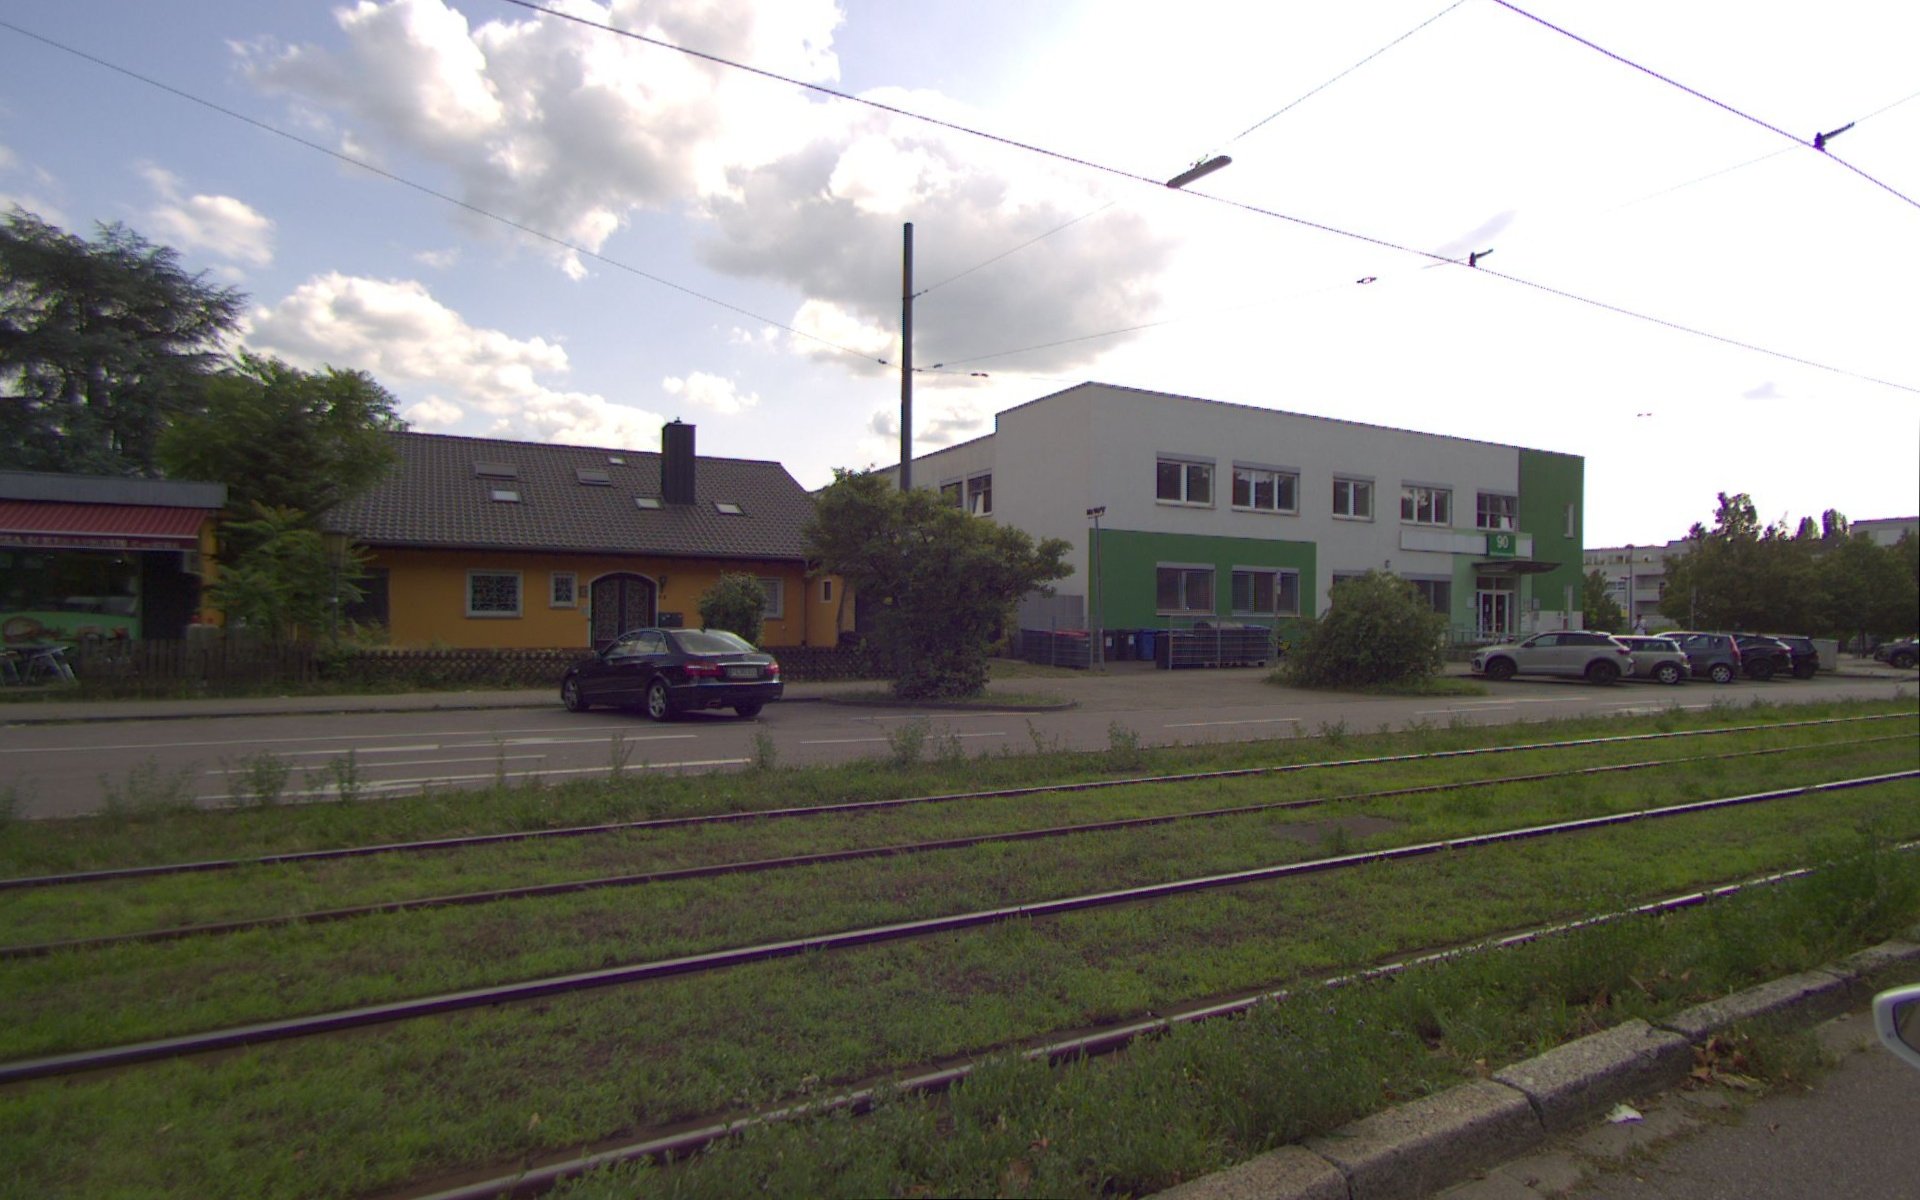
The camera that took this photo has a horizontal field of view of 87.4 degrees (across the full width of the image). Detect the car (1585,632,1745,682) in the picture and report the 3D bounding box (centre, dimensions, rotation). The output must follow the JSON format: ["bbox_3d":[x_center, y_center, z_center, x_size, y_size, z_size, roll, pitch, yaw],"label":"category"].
[{"bbox_3d":[22.875,1.822,32.784,4.163,1.501,1.878,-1,-2,33],"label":"car"}]

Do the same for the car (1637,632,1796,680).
[{"bbox_3d":[25.578,1.856,34.173,4.163,1.501,1.878,-1,-2,33],"label":"car"}]

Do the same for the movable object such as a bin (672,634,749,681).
[{"bbox_3d":[-6.176,1.394,24.841,1.598,1.107,1.249,1,-1,-29],"label":"movable object such as a bin"}]

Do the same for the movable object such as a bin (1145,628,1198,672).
[{"bbox_3d":[6.429,1.517,30.574,1.239,1.251,1.002,0,1,-26],"label":"movable object such as a bin"}]

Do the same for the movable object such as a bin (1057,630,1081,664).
[{"bbox_3d":[3.526,1.521,32.600,0.557,1.056,0.566,0,1,-27],"label":"movable object such as a bin"}]

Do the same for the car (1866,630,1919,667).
[{"bbox_3d":[40.899,2.073,42.115,4.168,1.502,1.876,1,0,38],"label":"car"}]

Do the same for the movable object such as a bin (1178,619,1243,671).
[{"bbox_3d":[7.786,1.373,31.253,1.689,1.540,1.002,0,1,-26],"label":"movable object such as a bin"}]

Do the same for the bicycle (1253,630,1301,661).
[{"bbox_3d":[11.405,1.636,36.192,0.453,0.999,1.851,2,0,-27],"label":"bicycle"}]

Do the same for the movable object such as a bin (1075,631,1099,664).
[{"bbox_3d":[4.156,1.554,32.964,0.557,1.056,0.566,0,1,-27],"label":"movable object such as a bin"}]

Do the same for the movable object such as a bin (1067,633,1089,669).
[{"bbox_3d":[3.545,1.526,30.230,0.473,1.056,0.491,0,1,-28],"label":"movable object such as a bin"}]

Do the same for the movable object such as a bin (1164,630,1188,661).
[{"bbox_3d":[7.459,1.567,34.693,0.557,1.056,0.566,0,1,-27],"label":"movable object such as a bin"}]

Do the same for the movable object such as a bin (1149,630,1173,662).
[{"bbox_3d":[6.883,1.564,34.379,0.557,1.056,0.566,0,1,-27],"label":"movable object such as a bin"}]

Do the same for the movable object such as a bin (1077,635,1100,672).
[{"bbox_3d":[3.795,1.578,29.733,0.476,1.056,0.502,0,1,-28],"label":"movable object such as a bin"}]

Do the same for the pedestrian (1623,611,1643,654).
[{"bbox_3d":[29.351,1.398,43.811,0.503,1.852,0.543,1,-1,-30],"label":"pedestrian"}]

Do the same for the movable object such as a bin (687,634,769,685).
[{"bbox_3d":[-5.441,1.370,23.580,1.598,1.115,1.249,1,-1,-29],"label":"movable object such as a bin"}]

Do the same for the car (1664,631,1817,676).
[{"bbox_3d":[27.893,1.887,36.082,4.163,1.501,1.878,-1,-2,33],"label":"car"}]

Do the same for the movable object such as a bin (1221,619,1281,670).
[{"bbox_3d":[9.278,1.401,32.015,1.583,1.540,1.002,0,1,-26],"label":"movable object such as a bin"}]

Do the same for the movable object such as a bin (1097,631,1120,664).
[{"bbox_3d":[4.938,1.568,33.415,0.557,1.056,0.566,0,1,-27],"label":"movable object such as a bin"}]

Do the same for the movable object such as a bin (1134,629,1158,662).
[{"bbox_3d":[6.301,1.541,34.098,0.557,1.056,0.566,0,1,-27],"label":"movable object such as a bin"}]

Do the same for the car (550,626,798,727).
[{"bbox_3d":[-4.888,1.193,16.798,4.585,1.425,1.873,-1,-3,43],"label":"car"}]

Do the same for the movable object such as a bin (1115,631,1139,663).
[{"bbox_3d":[5.618,1.576,33.748,0.557,1.056,0.566,0,1,-27],"label":"movable object such as a bin"}]

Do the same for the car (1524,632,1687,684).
[{"bbox_3d":[20.147,1.757,31.498,4.163,1.501,1.878,-1,-2,33],"label":"car"}]

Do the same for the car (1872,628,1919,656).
[{"bbox_3d":[64.784,2.861,68.326,1.960,1.773,4.001,2,1,3],"label":"car"}]

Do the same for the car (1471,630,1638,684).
[{"bbox_3d":[17.636,1.658,30.034,4.158,1.501,1.881,0,-1,28],"label":"car"}]
